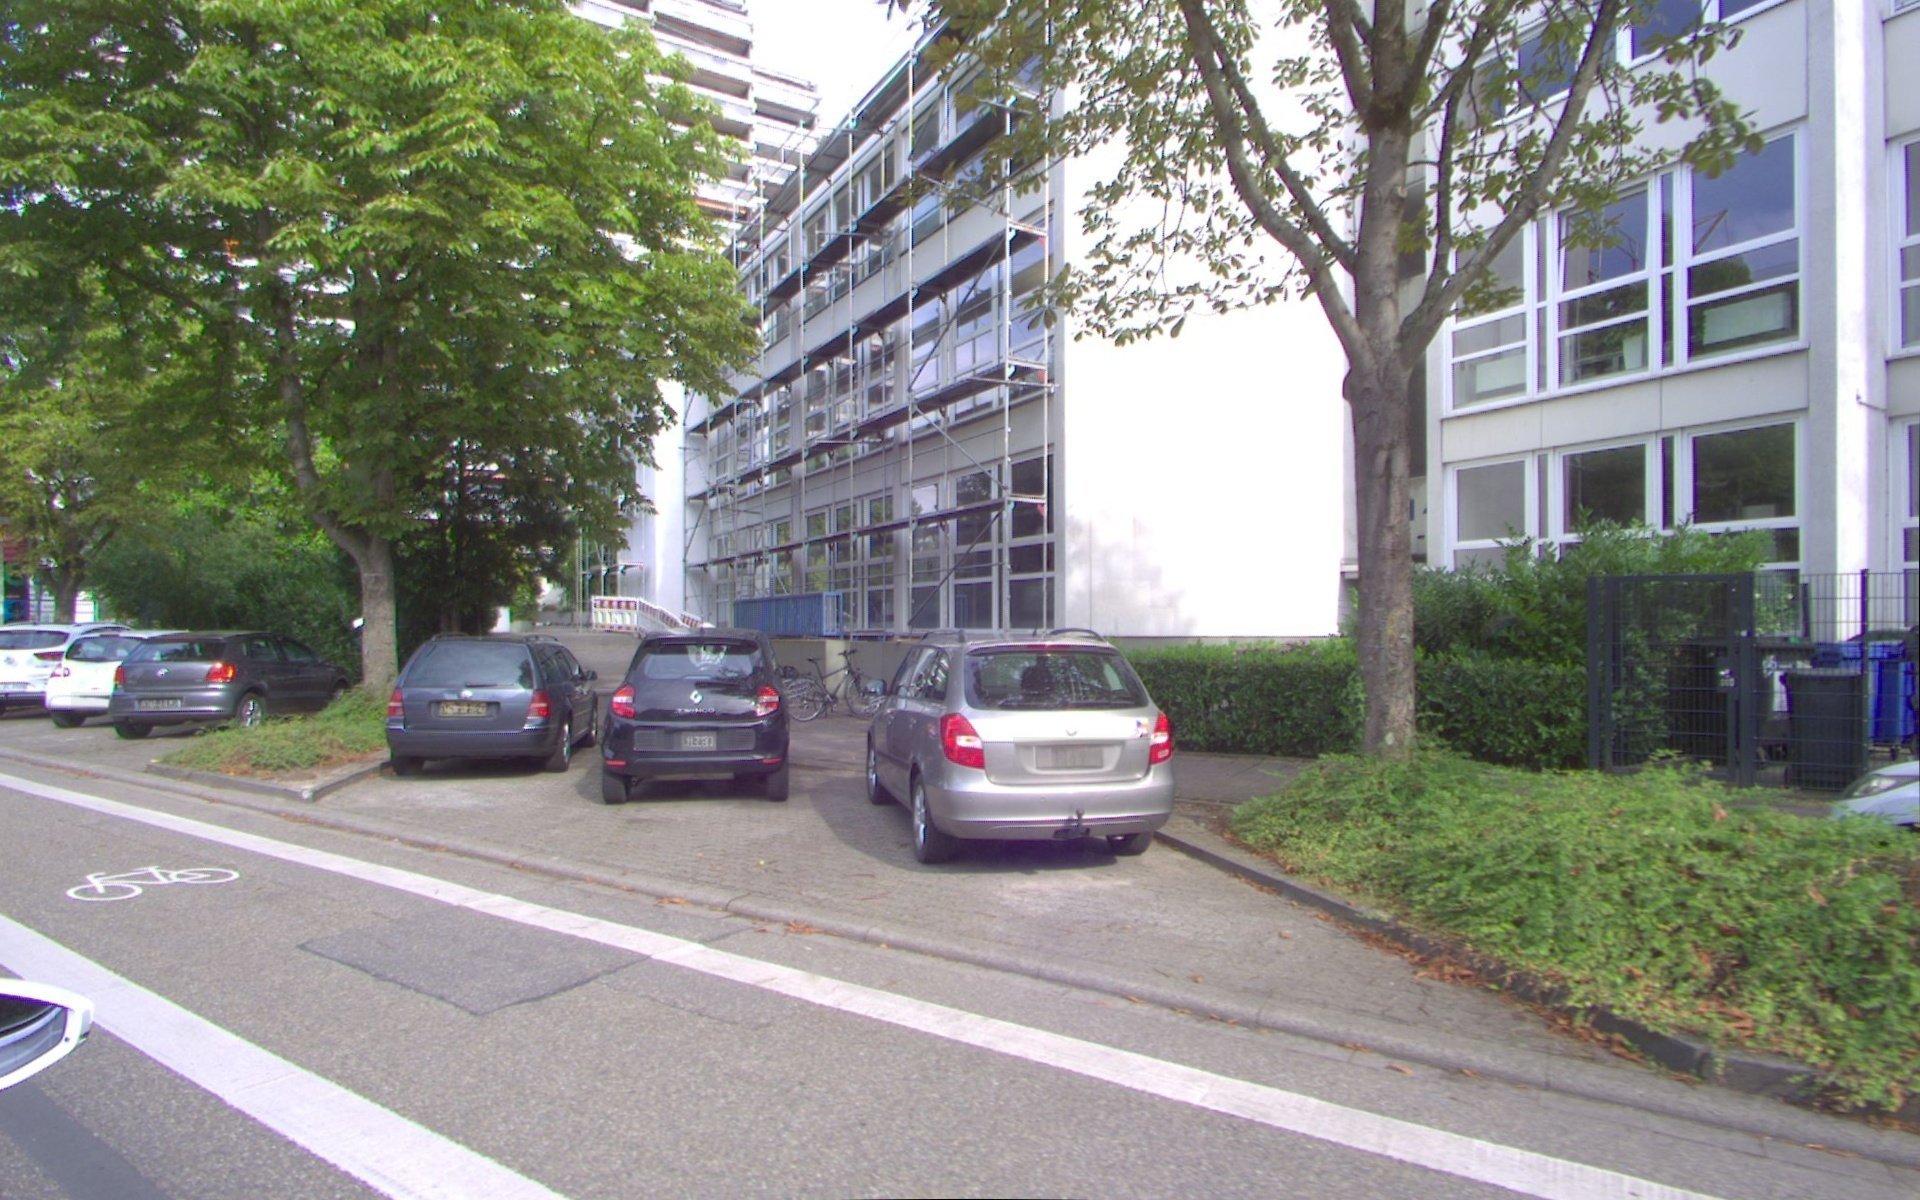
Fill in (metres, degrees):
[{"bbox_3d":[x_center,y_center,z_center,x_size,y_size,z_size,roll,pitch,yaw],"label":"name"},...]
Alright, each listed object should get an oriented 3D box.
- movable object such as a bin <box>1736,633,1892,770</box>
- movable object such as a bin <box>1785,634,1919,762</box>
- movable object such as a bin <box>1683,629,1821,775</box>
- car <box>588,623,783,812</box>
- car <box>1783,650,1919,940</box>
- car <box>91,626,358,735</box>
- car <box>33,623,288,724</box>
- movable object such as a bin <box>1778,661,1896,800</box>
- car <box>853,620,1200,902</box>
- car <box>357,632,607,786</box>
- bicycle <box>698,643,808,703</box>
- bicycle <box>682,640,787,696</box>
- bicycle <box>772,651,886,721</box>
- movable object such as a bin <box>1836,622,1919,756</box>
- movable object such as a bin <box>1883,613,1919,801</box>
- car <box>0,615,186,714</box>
[{"bbox_3d":[9.465,1.076,11.113,1.050,1.409,1.111,1,-1,-36],"label":"movable object such as a bin"},{"bbox_3d":[10.610,1.102,11.765,1.160,1.388,1.171,1,-1,-36],"label":"movable object such as a bin"},{"bbox_3d":[8.303,1.023,10.501,1.012,1.425,0.906,1,-1,-36],"label":"movable object such as a bin"},{"bbox_3d":[-2.589,1.022,10.064,1.566,1.557,3.416,1,-2,-10],"label":"car"},{"bbox_3d":[5.803,0.942,3.884,1.604,1.411,3.858,1,-2,-13],"label":"car"},{"bbox_3d":[-10.863,1.126,15.140,1.650,1.437,3.647,0,-2,-6],"label":"car"},{"bbox_3d":[-13.200,1.156,16.844,1.650,1.493,3.647,0,-2,-6],"label":"car"},{"bbox_3d":[7.685,1.110,8.809,0.734,1.119,0.781,-1,-1,38],"label":"movable object such as a bin"},{"bbox_3d":[0.203,0.965,7.685,1.566,1.557,4.050,1,-2,-13],"label":"car"},{"bbox_3d":[-5.292,1.099,11.663,1.783,1.433,4.167,0,-2,-13],"label":"car"},{"bbox_3d":[-3.875,1.350,18.823,1.949,1.057,0.592,1,-1,-30],"label":"bicycle"},{"bbox_3d":[-4.394,1.315,19.558,1.944,1.057,0.593,1,-1,-20],"label":"bicycle"},{"bbox_3d":[-2.139,1.396,16.466,1.813,1.057,0.451,0,0,-29],"label":"bicycle"},{"bbox_3d":[11.794,1.076,12.425,1.160,1.588,1.171,1,-1,-36],"label":"movable object such as a bin"},{"bbox_3d":[8.822,0.890,8.423,1.397,1.549,1.322,-1,-1,37],"label":"movable object such as a bin"},{"bbox_3d":[-16.056,1.126,18.258,1.651,1.623,3.644,0,-2,-12],"label":"car"}]
